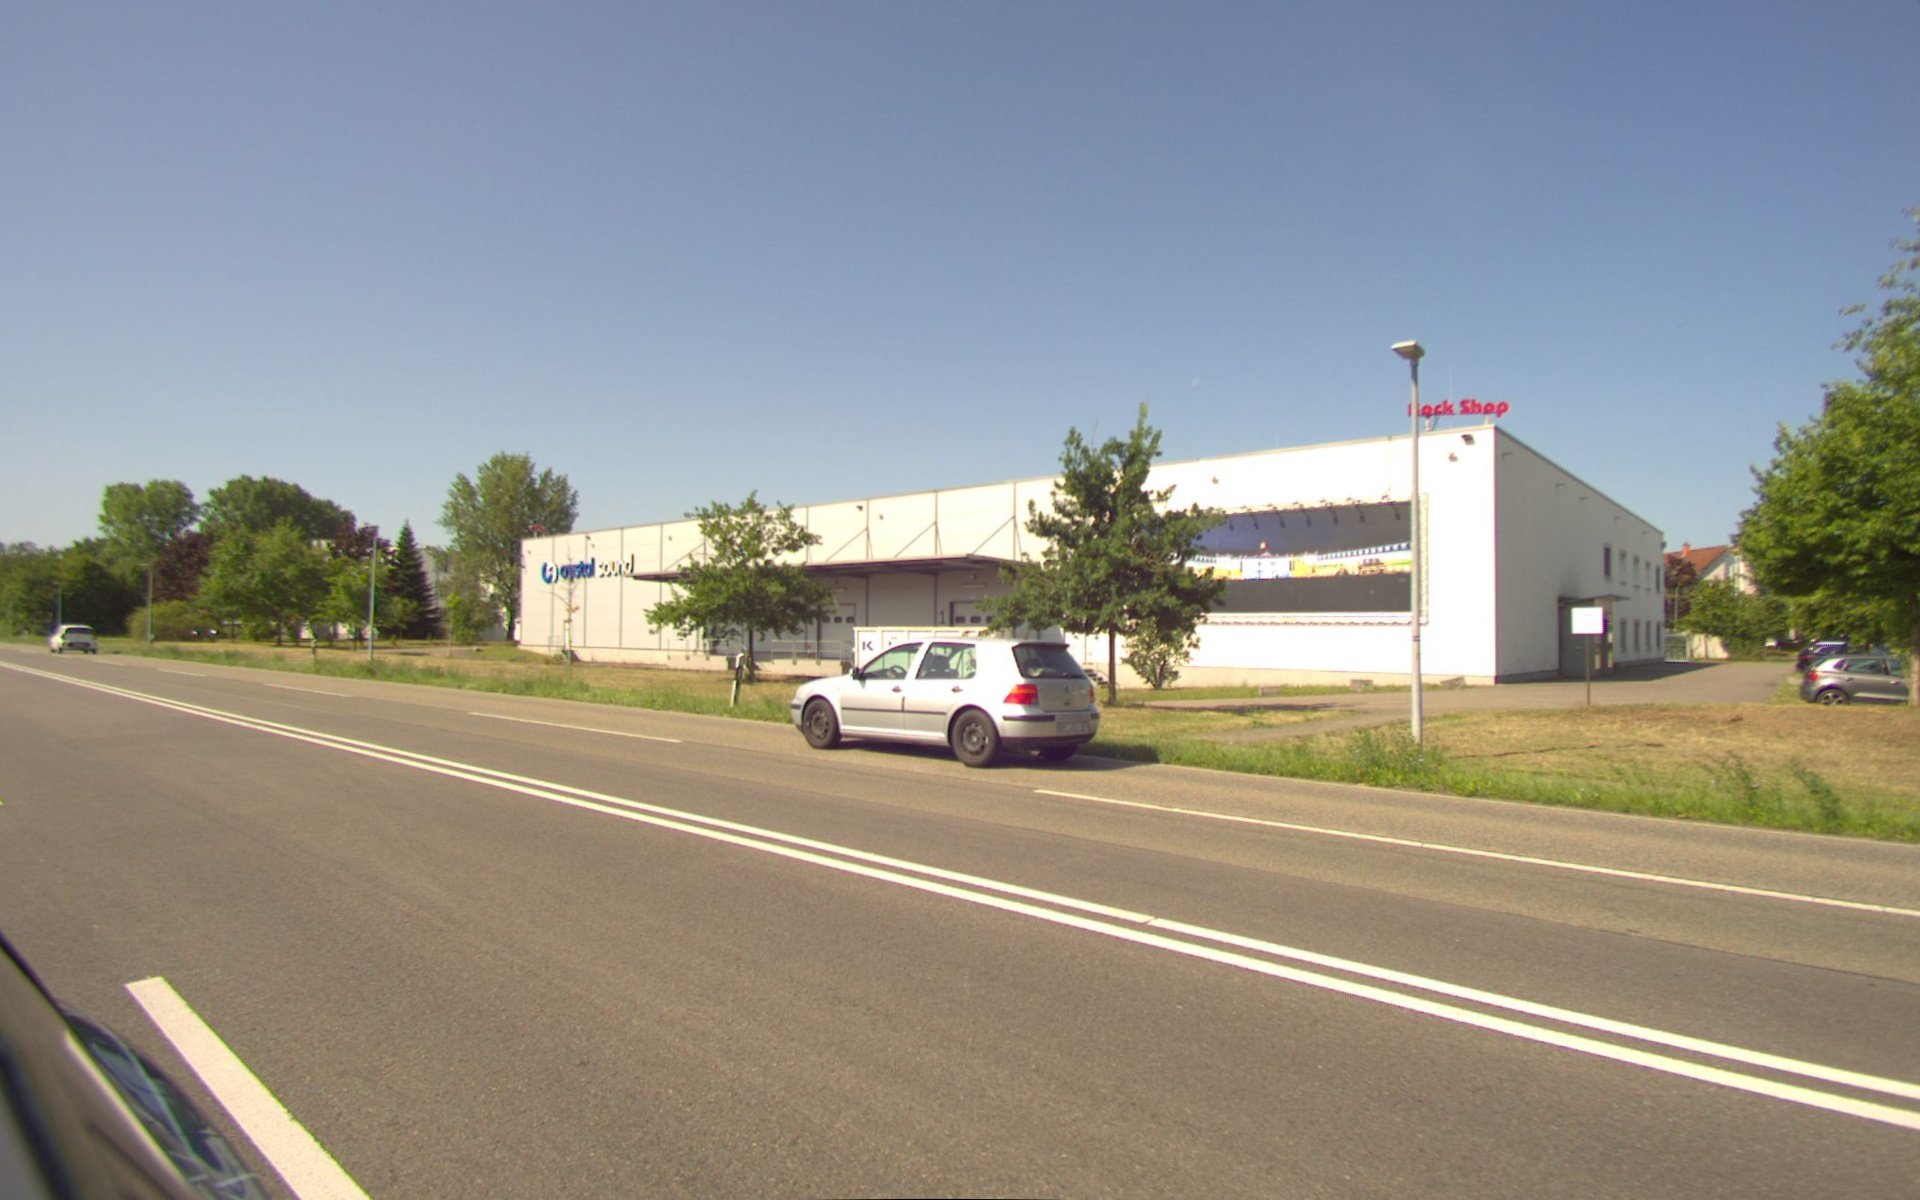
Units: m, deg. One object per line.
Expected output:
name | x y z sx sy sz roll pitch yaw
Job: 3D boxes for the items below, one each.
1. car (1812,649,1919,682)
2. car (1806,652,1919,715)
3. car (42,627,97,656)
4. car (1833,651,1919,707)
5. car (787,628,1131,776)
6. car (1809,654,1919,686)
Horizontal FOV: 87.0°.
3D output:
car | 36.882 2.625 40.734 3.941 1.217 1.619 -1 -3 41
car | 22.451 1.969 23.922 3.721 1.400 1.619 -1 -3 41
car | -47.270 2.178 53.704 3.734 1.448 1.642 -1 -4 41
car | 25.793 2.124 27.037 3.721 1.421 1.619 -1 -3 41
car | -0.125 1.100 11.984 3.998 1.453 1.581 -1 -4 41
car | 38.435 2.952 42.751 3.941 1.217 1.619 -1 -3 41
